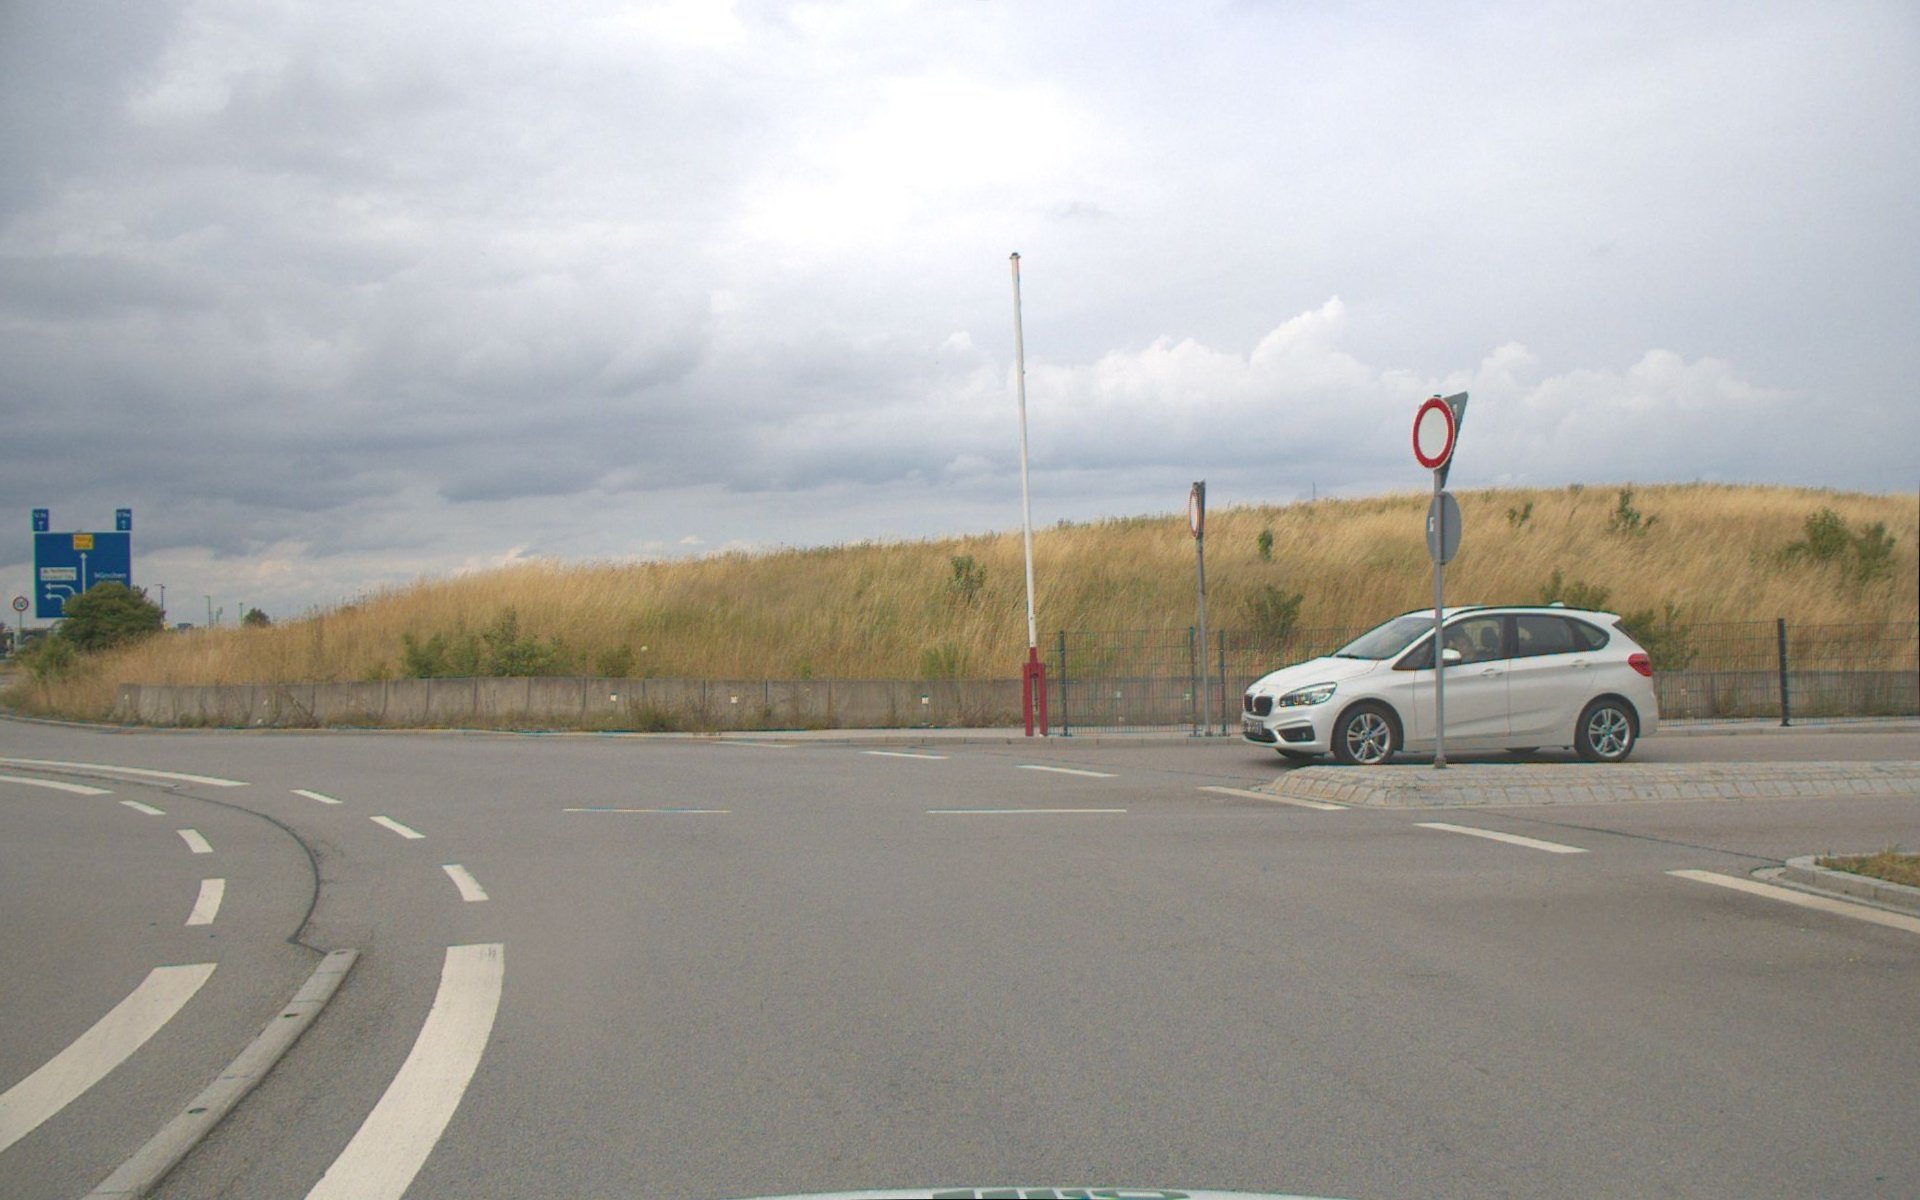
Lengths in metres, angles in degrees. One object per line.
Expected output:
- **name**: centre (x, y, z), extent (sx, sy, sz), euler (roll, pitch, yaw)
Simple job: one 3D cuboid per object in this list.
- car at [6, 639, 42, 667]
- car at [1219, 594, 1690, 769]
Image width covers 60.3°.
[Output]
- **car**: centre (-59.594, 3.379, 105.360), extent (1.578, 1.575, 4.014), euler (-2, 1, -25)
- **car**: centre (5.015, 0.775, 16.992), extent (4.335, 1.657, 1.779), euler (0, 0, -12)
